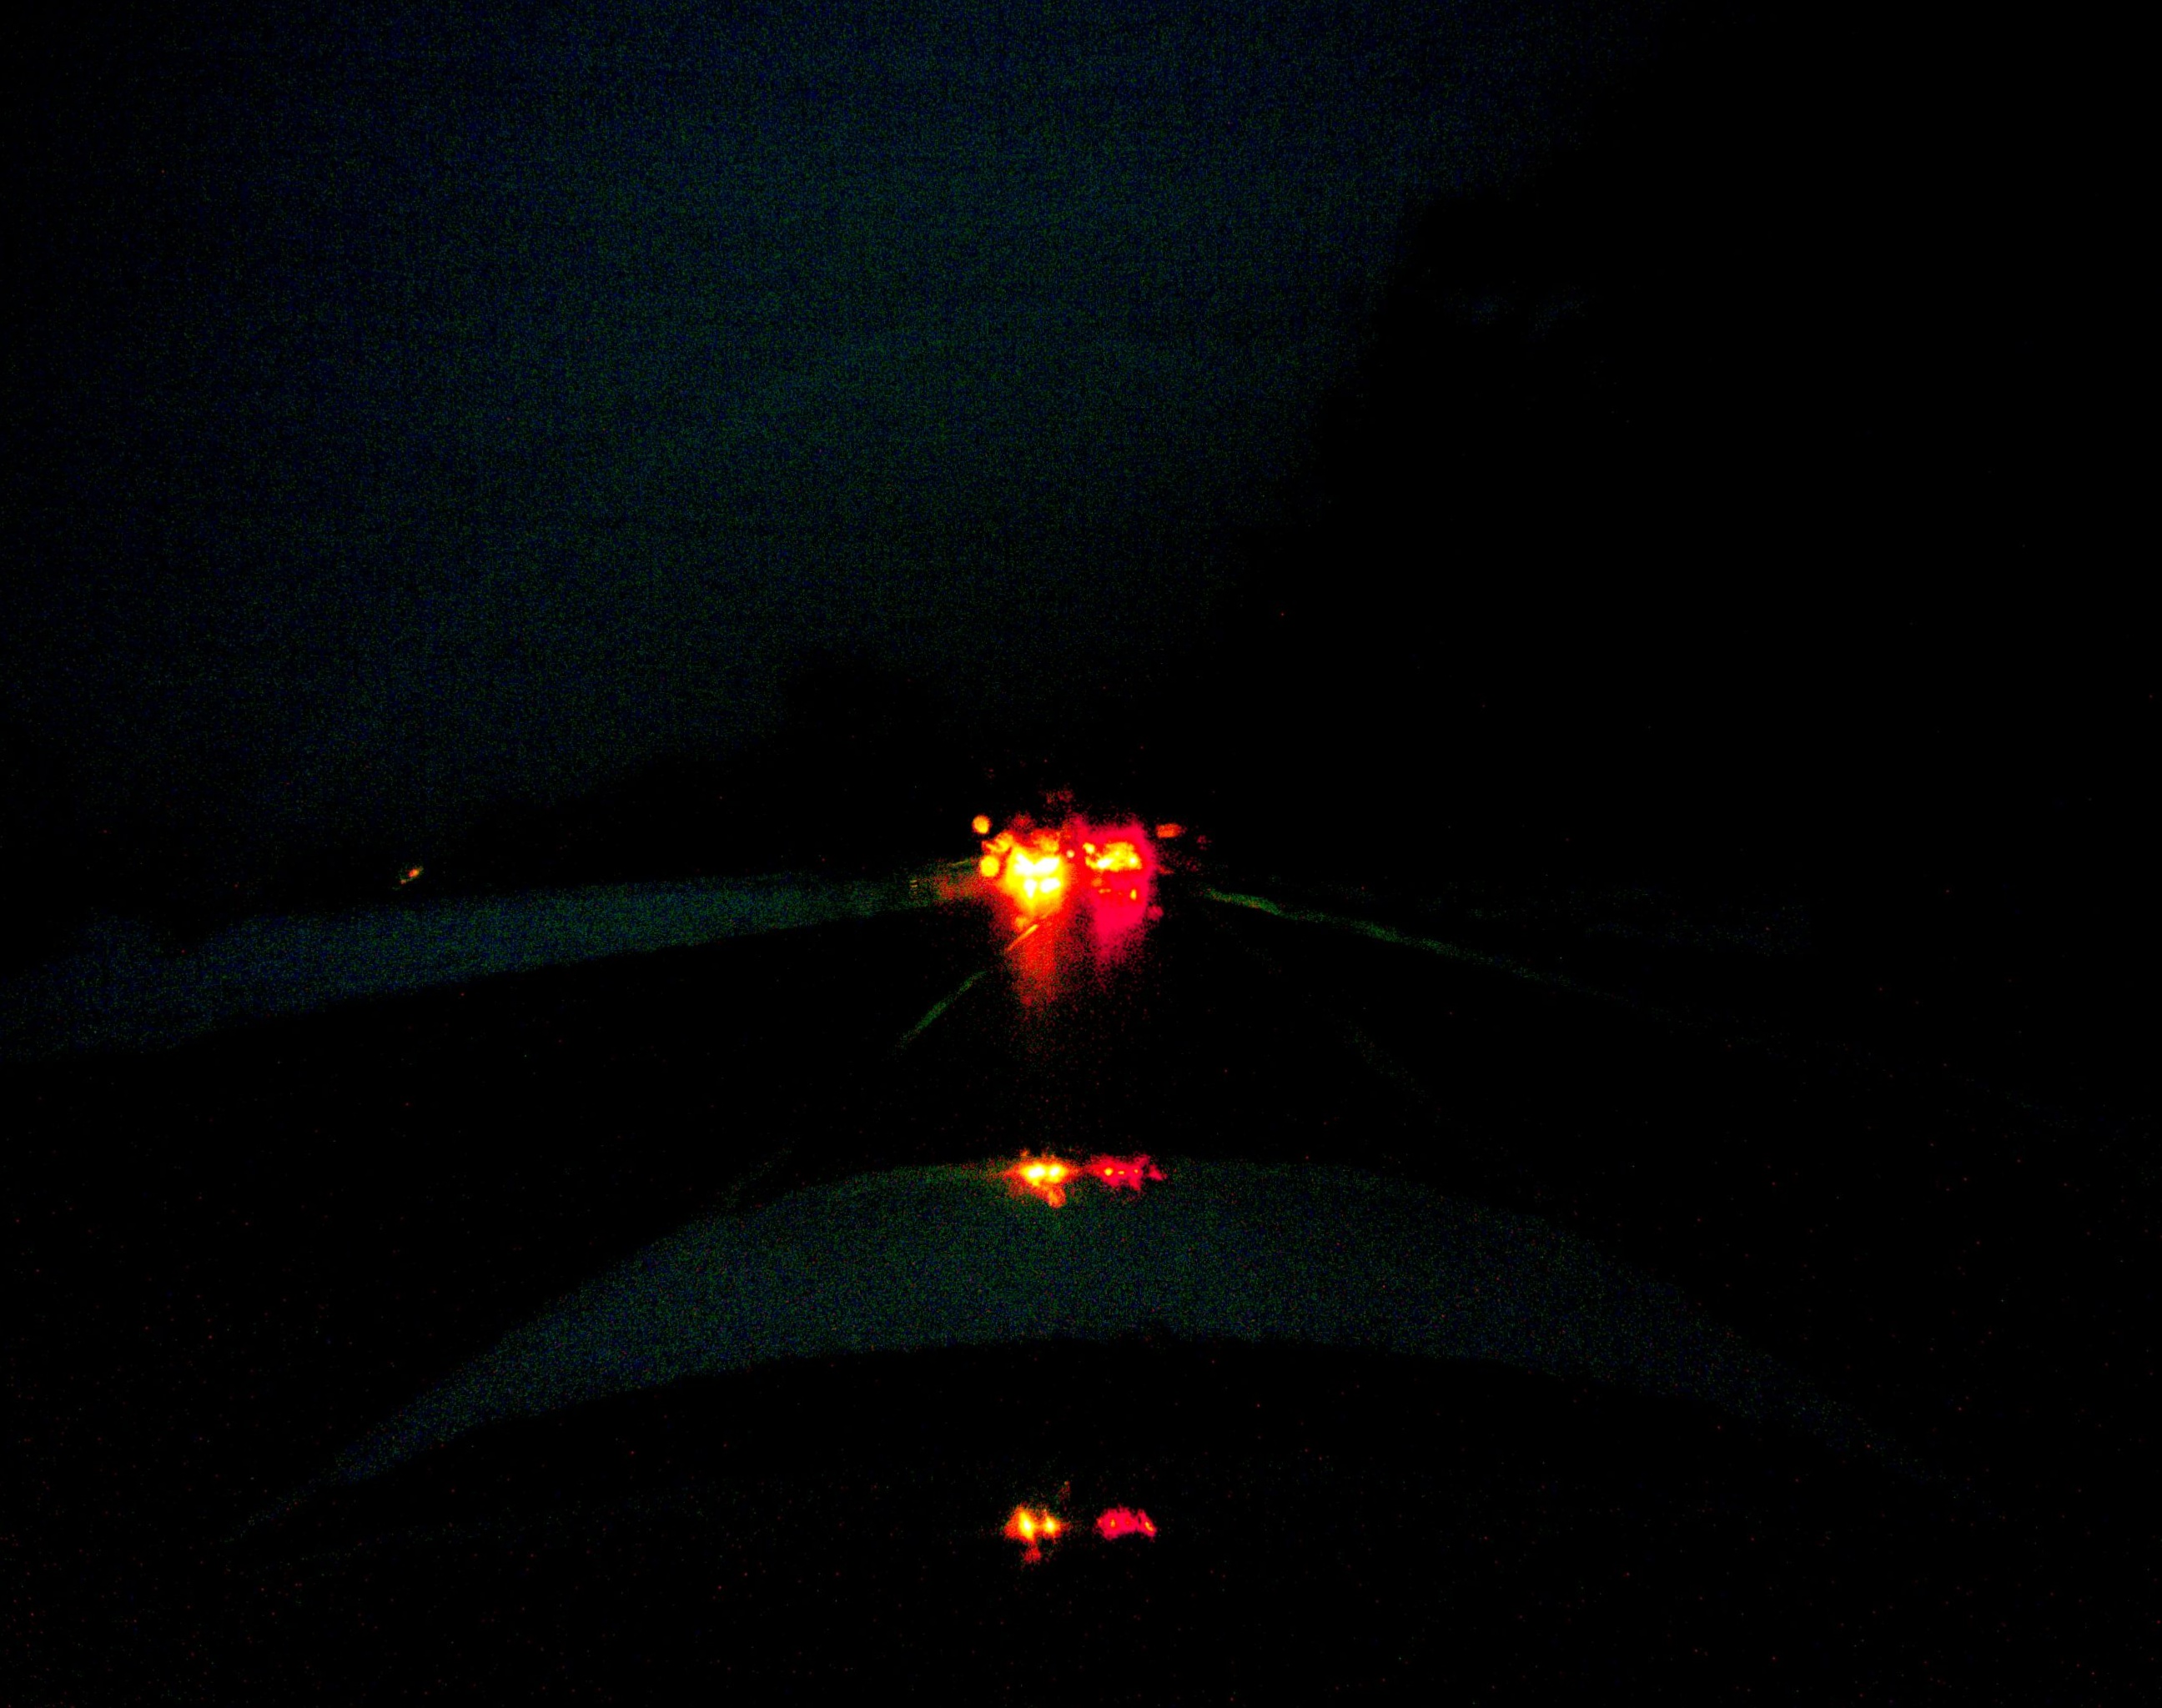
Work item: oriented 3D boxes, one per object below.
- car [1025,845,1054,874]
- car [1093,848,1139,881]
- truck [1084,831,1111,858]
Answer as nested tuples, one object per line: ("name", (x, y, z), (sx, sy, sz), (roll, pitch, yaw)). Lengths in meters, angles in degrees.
("car", (-2.679, 0.337, 53.339), (1.748, 1.693, 4.422), (-3, 1, -2))
("car", (1.590, 0.446, 37.980), (1.916, 1.276, 4.000), (-2, 2, 0))
("truck", (1.717, -1.010, 86.674), (2.073, 2.745, 5.307), (-2, 1, -6))
